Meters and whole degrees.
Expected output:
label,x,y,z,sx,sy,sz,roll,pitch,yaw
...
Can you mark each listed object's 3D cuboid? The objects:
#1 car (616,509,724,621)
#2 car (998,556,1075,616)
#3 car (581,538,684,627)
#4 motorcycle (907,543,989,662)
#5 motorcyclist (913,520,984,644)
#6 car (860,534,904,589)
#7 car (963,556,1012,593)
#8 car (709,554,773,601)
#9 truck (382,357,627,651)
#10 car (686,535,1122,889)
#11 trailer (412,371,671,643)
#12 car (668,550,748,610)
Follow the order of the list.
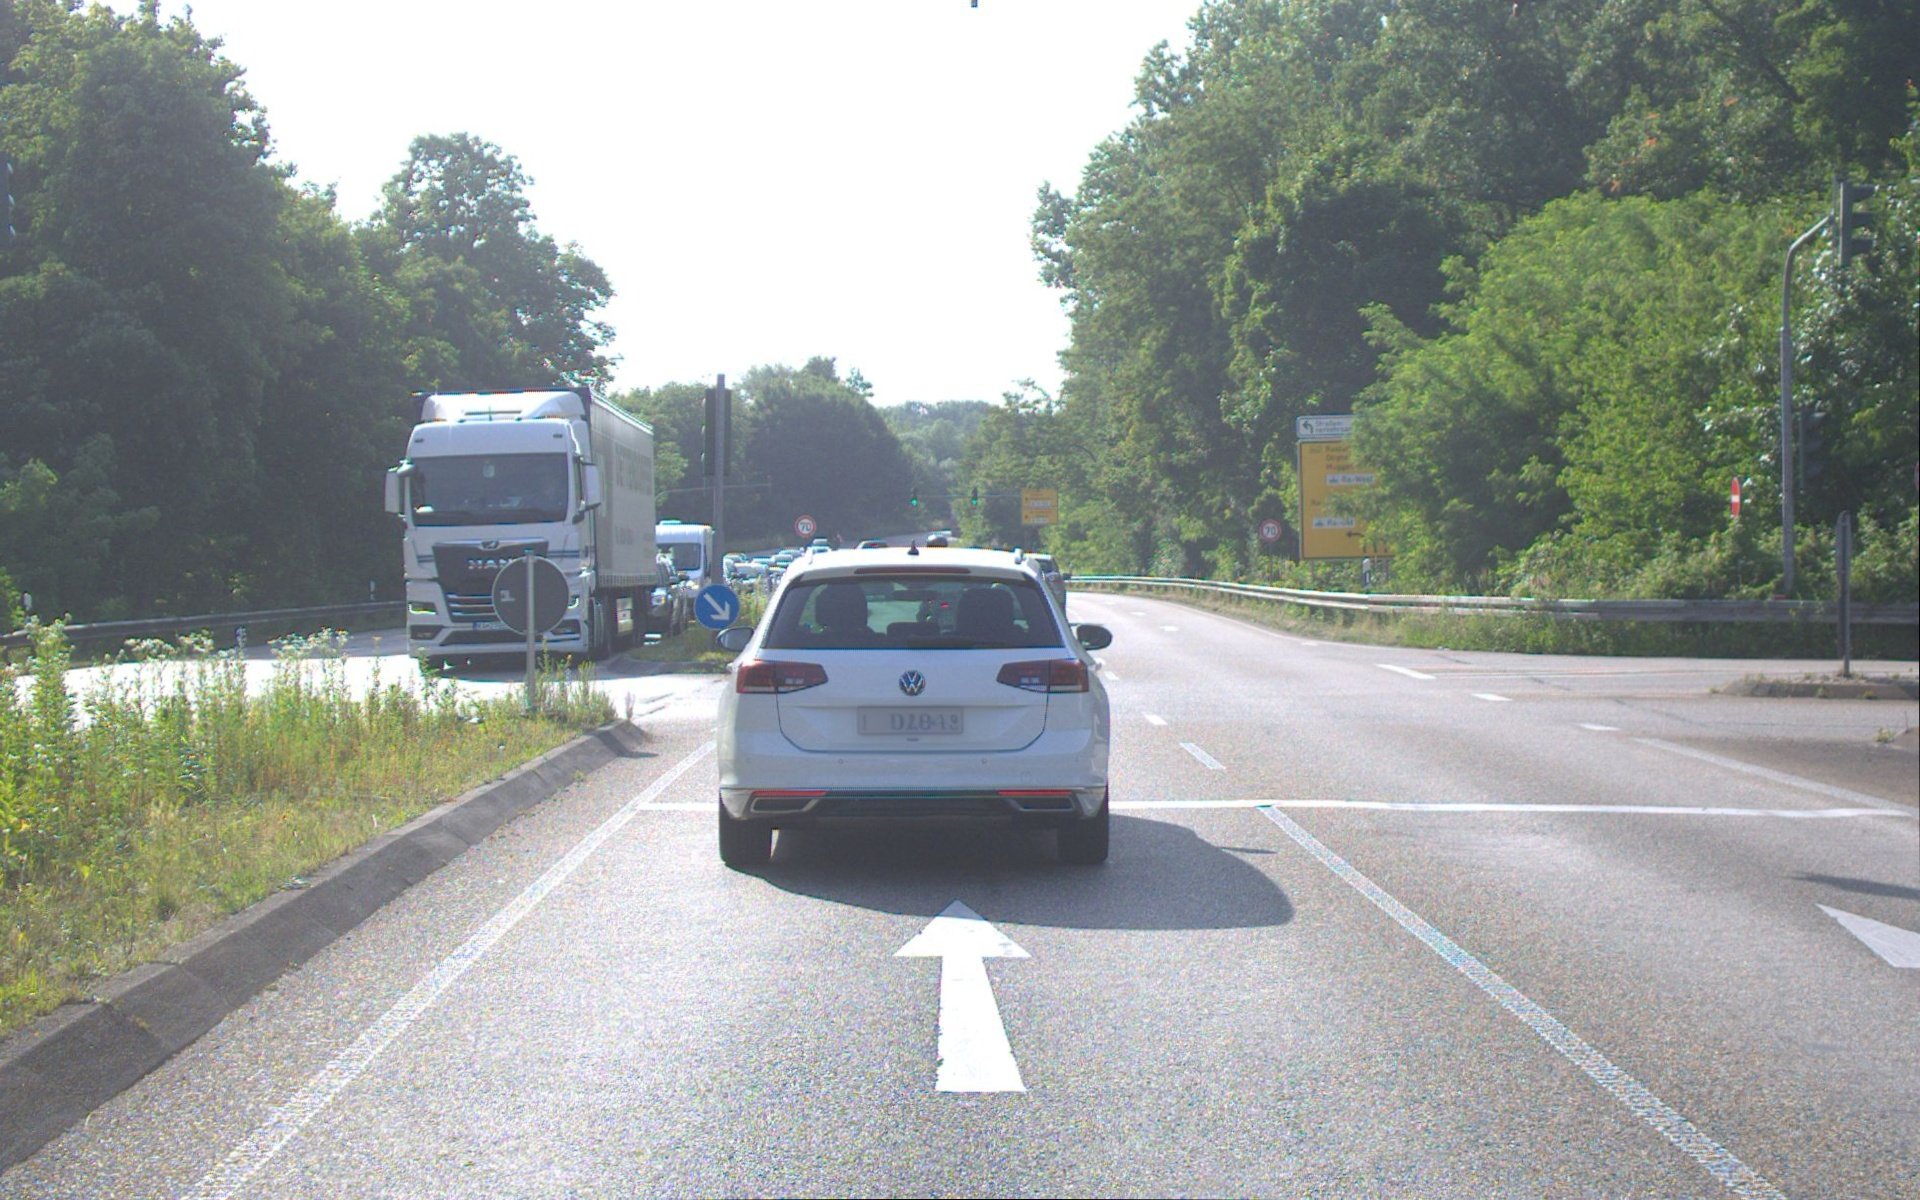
label,x,y,z,sx,sy,sz,roll,pitch,yaw
car,-6.962,-0.876,83.184,2.075,2.525,6.164,-2,1,0
car,1.795,-0.356,81.999,1.761,1.375,3.972,0,1,0
car,-6.390,-0.376,67.381,1.700,1.626,4.371,-2,1,-2
motorcycle,-0.141,0.011,45.399,0.909,1.448,2.689,-4,1,2
motorcyclist,-0.146,-0.248,45.510,0.884,1.610,1.290,1,1,2
car,-4.235,-2.129,186.994,2.210,2.878,7.012,-2,1,-1
car,1.160,-1.094,147.209,1.744,1.532,3.927,1,1,-5
car,-7.184,-0.769,113.309,1.771,1.418,5.193,-2,1,0
truck,-6.542,-1.368,50.290,2.890,3.983,6.723,1,1,-2
car,-0.267,0.436,17.216,1.870,1.516,4.834,0,1,-1
trailer,-6.755,-1.499,57.686,2.991,3.982,14.015,1,1,-2
car,-6.654,-0.549,91.212,1.760,1.451,5.186,-2,1,0
